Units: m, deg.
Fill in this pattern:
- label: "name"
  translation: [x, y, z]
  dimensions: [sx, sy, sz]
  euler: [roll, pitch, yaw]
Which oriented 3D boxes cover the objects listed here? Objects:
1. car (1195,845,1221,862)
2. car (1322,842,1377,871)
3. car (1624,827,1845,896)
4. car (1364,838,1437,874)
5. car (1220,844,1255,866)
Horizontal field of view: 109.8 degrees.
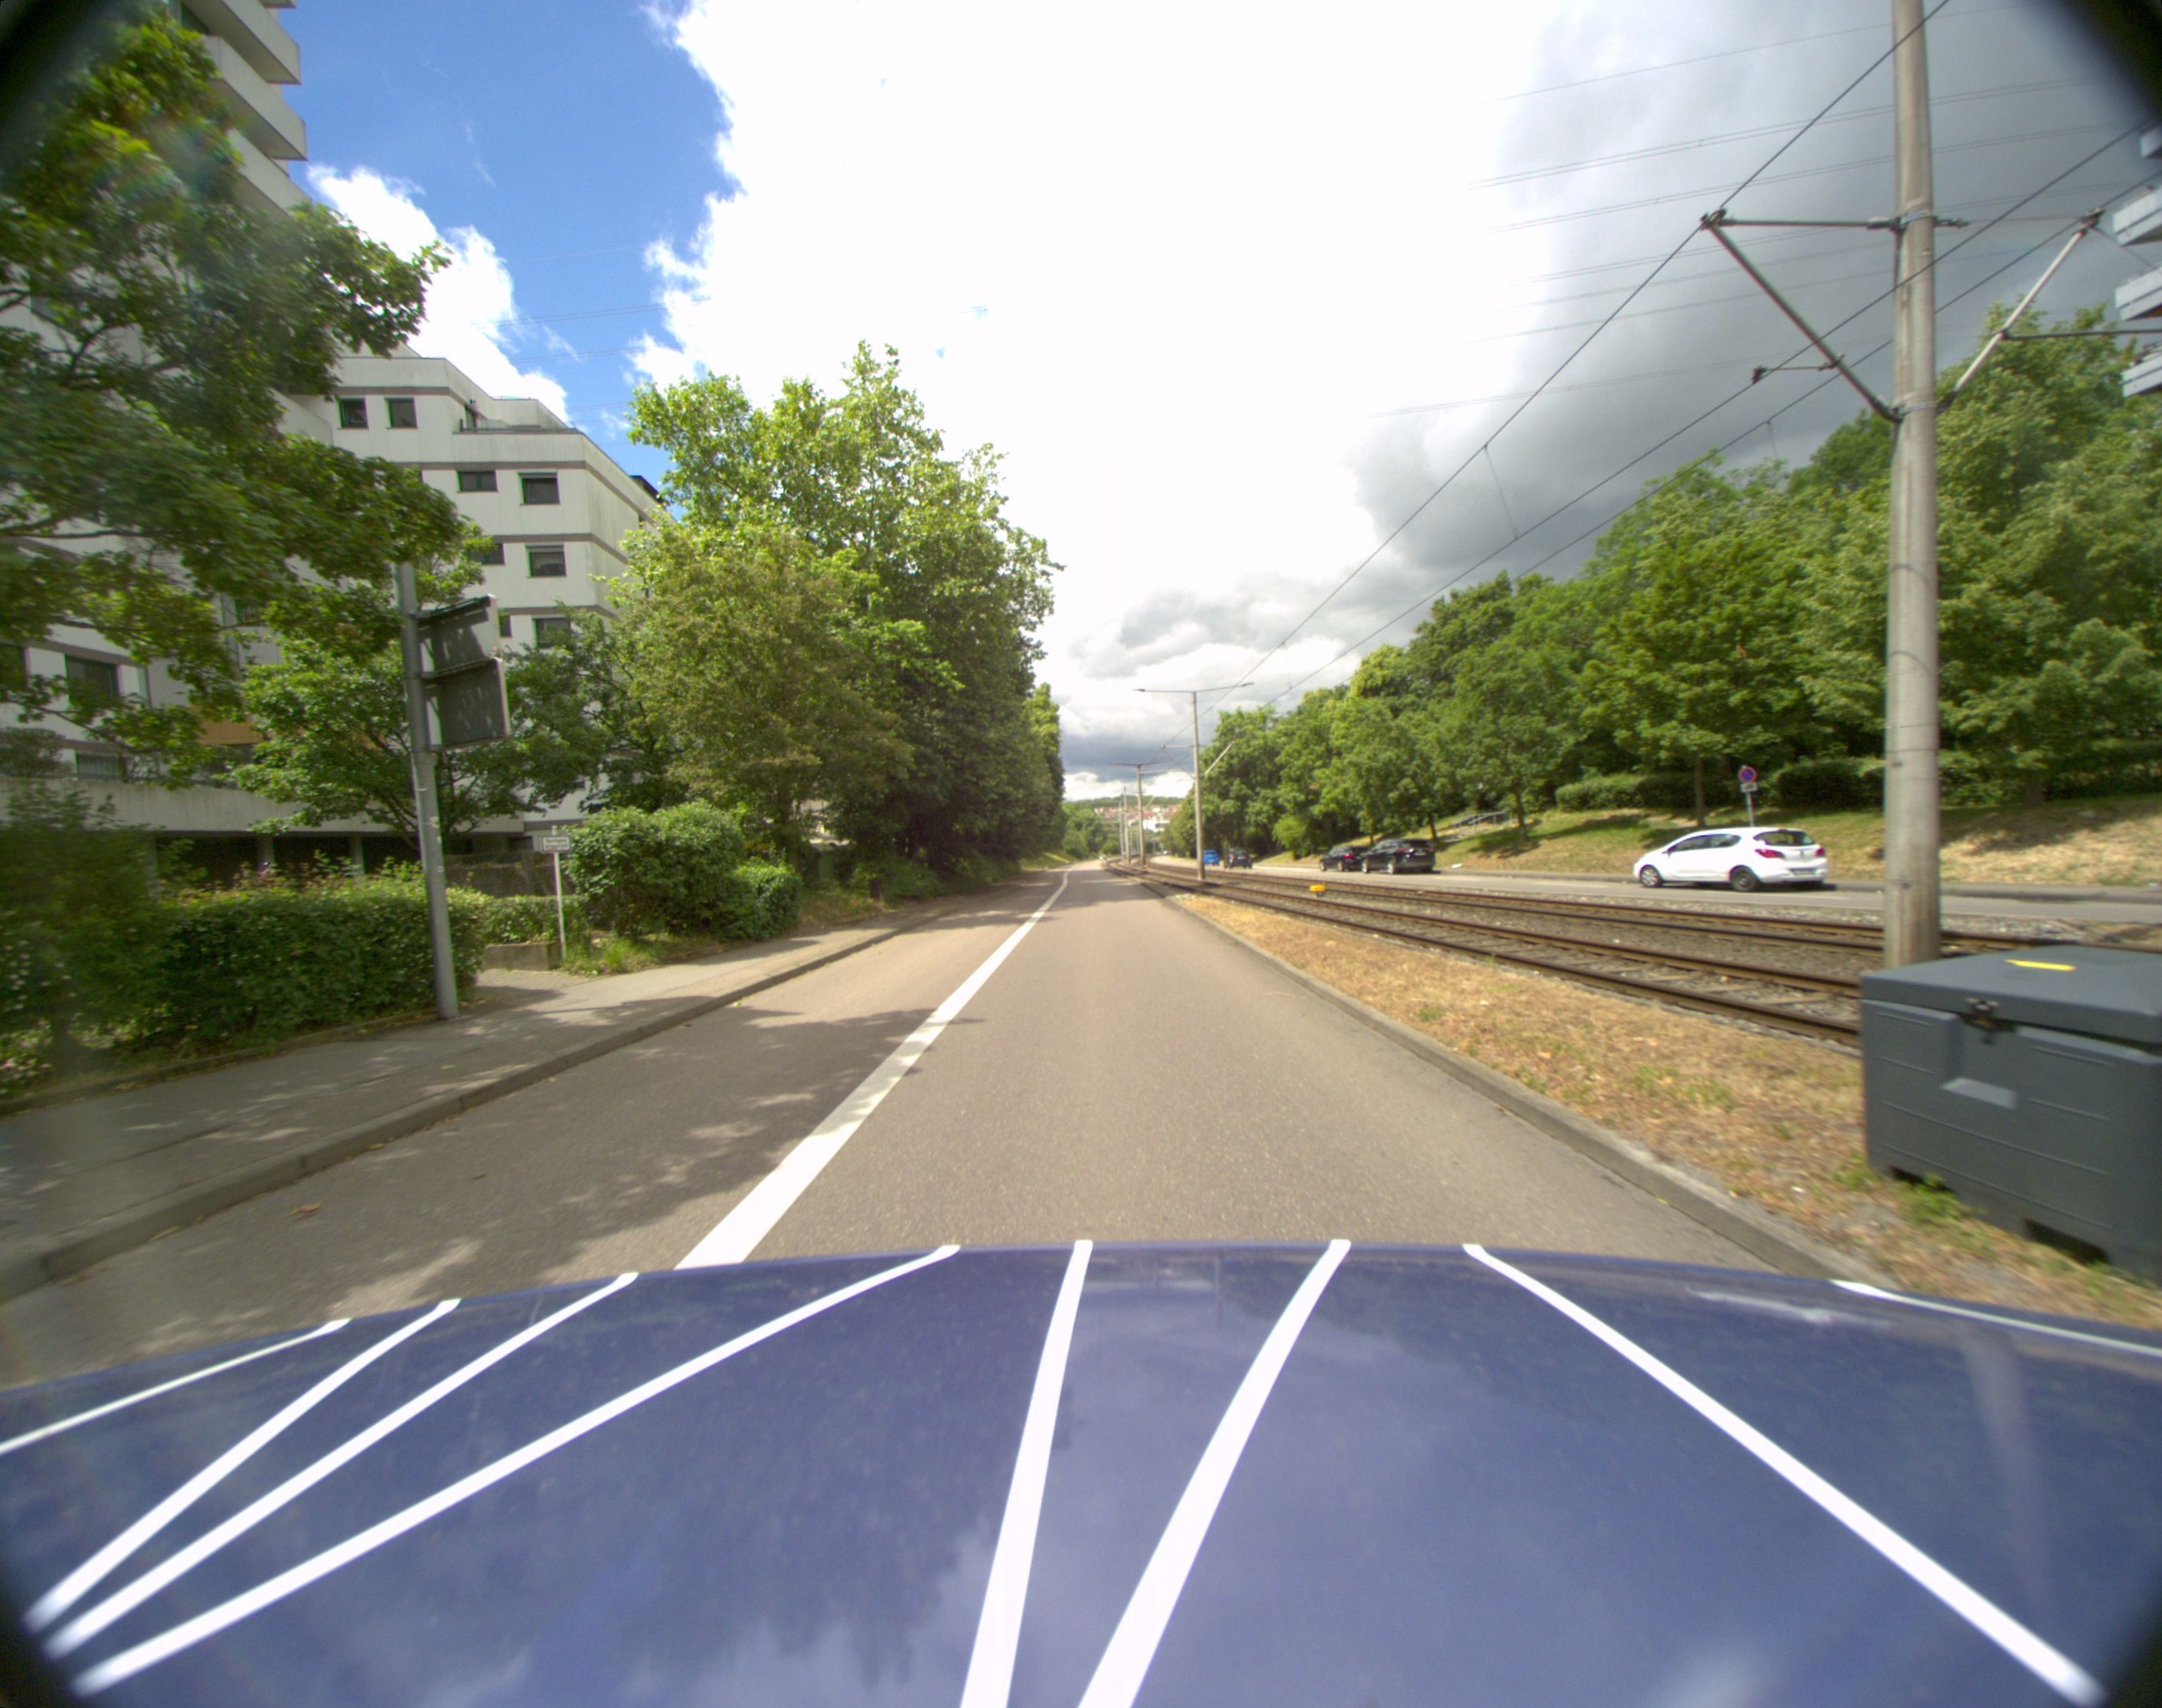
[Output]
- label: "car"
  translation: [11.901, -0.043, 71.514]
  dimensions: [1.636, 1.446, 3.736]
  euler: [-3, 0, -2]
- label: "car"
  translation: [14.594, 0.107, 41.430]
  dimensions: [1.605, 1.431, 3.469]
  euler: [-3, 0, -2]
- label: "car"
  translation: [15.577, 0.168, 18.438]
  dimensions: [1.659, 1.410, 3.998]
  euler: [-3, 0, -6]
- label: "car"
  translation: [14.751, 0.092, 35.259]
  dimensions: [1.659, 1.503, 3.736]
  euler: [-3, 0, -2]
- label: "car"
  translation: [11.497, 0.090, 56.042]
  dimensions: [1.659, 1.503, 3.736]
  euler: [-3, 0, -2]
